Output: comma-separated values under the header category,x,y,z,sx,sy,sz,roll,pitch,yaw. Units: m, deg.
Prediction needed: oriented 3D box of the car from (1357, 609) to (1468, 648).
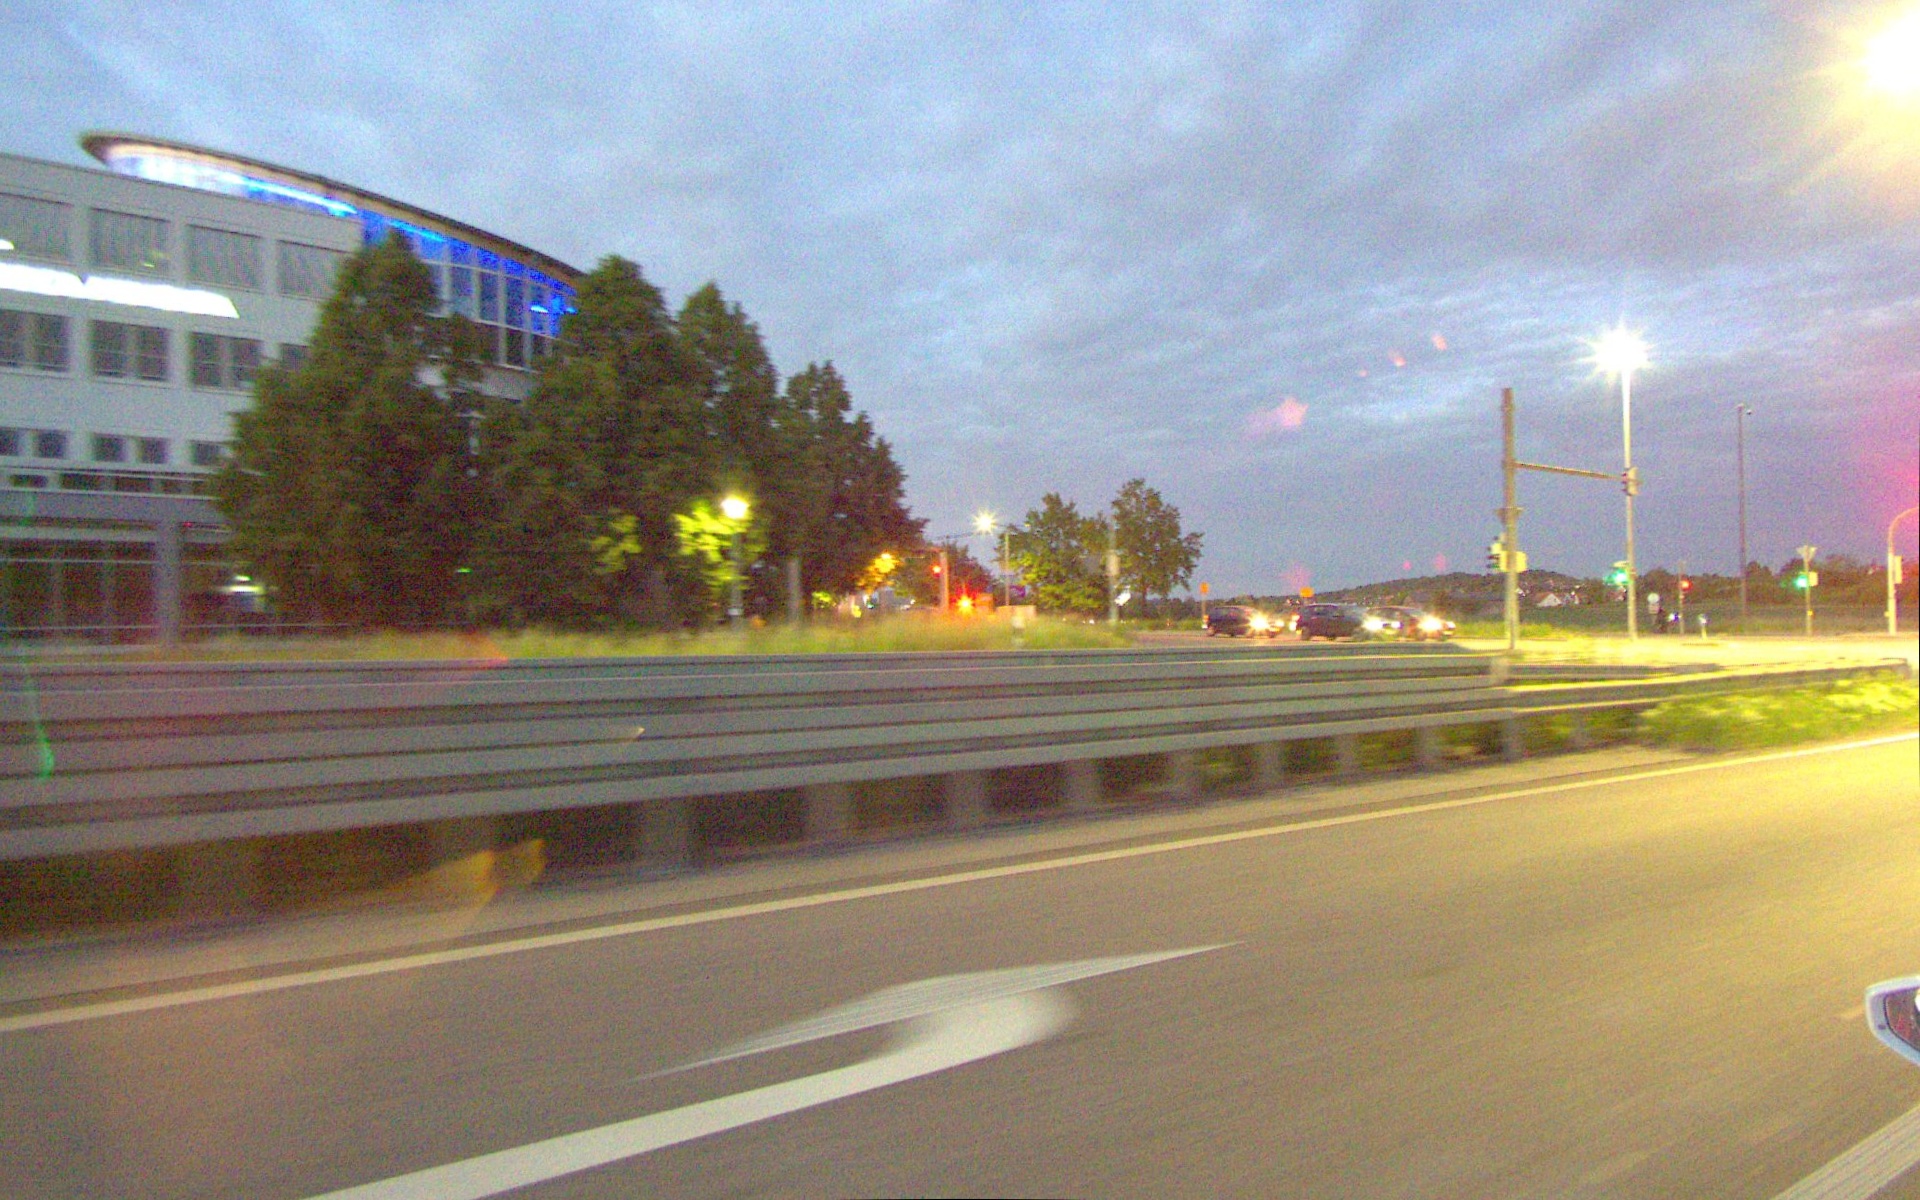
category,x,y,z,sx,sy,sz,roll,pitch,yaw
car,19.029,1.194,42.387,1.710,1.558,4.019,1,-2,-32

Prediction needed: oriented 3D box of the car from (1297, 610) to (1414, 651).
category,x,y,z,sx,sy,sz,roll,pitch,yaw
car,15.942,1.212,40.729,1.709,1.558,4.293,1,-2,-30

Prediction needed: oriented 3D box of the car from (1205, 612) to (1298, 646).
category,x,y,z,sx,sy,sz,roll,pitch,yaw
car,13.371,1.307,46.275,1.712,1.493,3.962,1,-2,-35
